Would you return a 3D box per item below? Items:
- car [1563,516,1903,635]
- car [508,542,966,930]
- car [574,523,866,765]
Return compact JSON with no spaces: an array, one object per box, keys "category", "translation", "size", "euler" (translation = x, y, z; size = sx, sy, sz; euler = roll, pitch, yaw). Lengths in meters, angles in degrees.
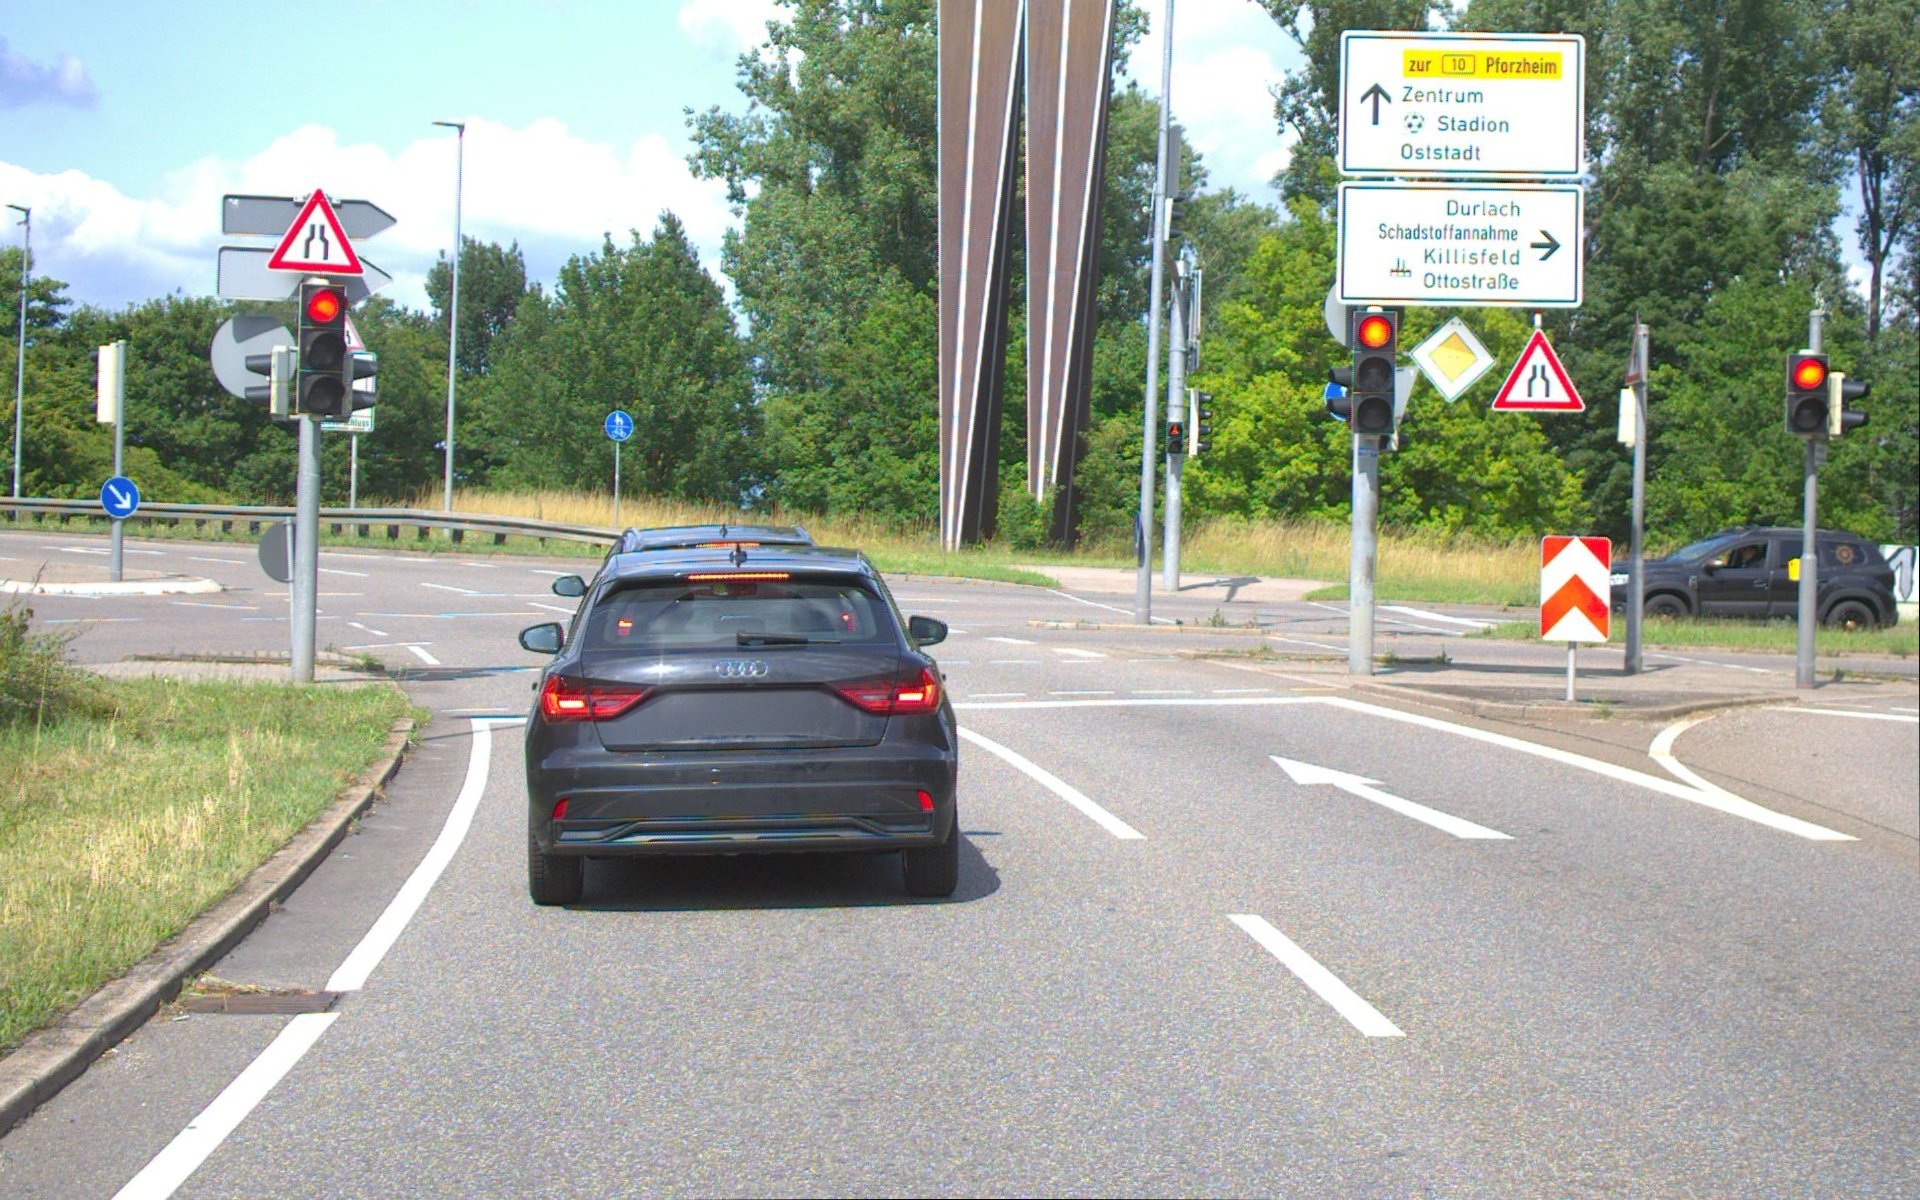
[{"category":"car","translation":[10.738,-0.355,47.930],"size":[4.267,1.539,1.737],"euler":[1,1,-4]},{"category":"car","translation":[-0.957,0.481,15.054],"size":[1.726,1.399,4.001],"euler":[-1,2,-3]},{"category":"car","translation":[-1.675,0.223,22.874],"size":[1.726,1.418,3.845],"euler":[-1,2,-7]}]
